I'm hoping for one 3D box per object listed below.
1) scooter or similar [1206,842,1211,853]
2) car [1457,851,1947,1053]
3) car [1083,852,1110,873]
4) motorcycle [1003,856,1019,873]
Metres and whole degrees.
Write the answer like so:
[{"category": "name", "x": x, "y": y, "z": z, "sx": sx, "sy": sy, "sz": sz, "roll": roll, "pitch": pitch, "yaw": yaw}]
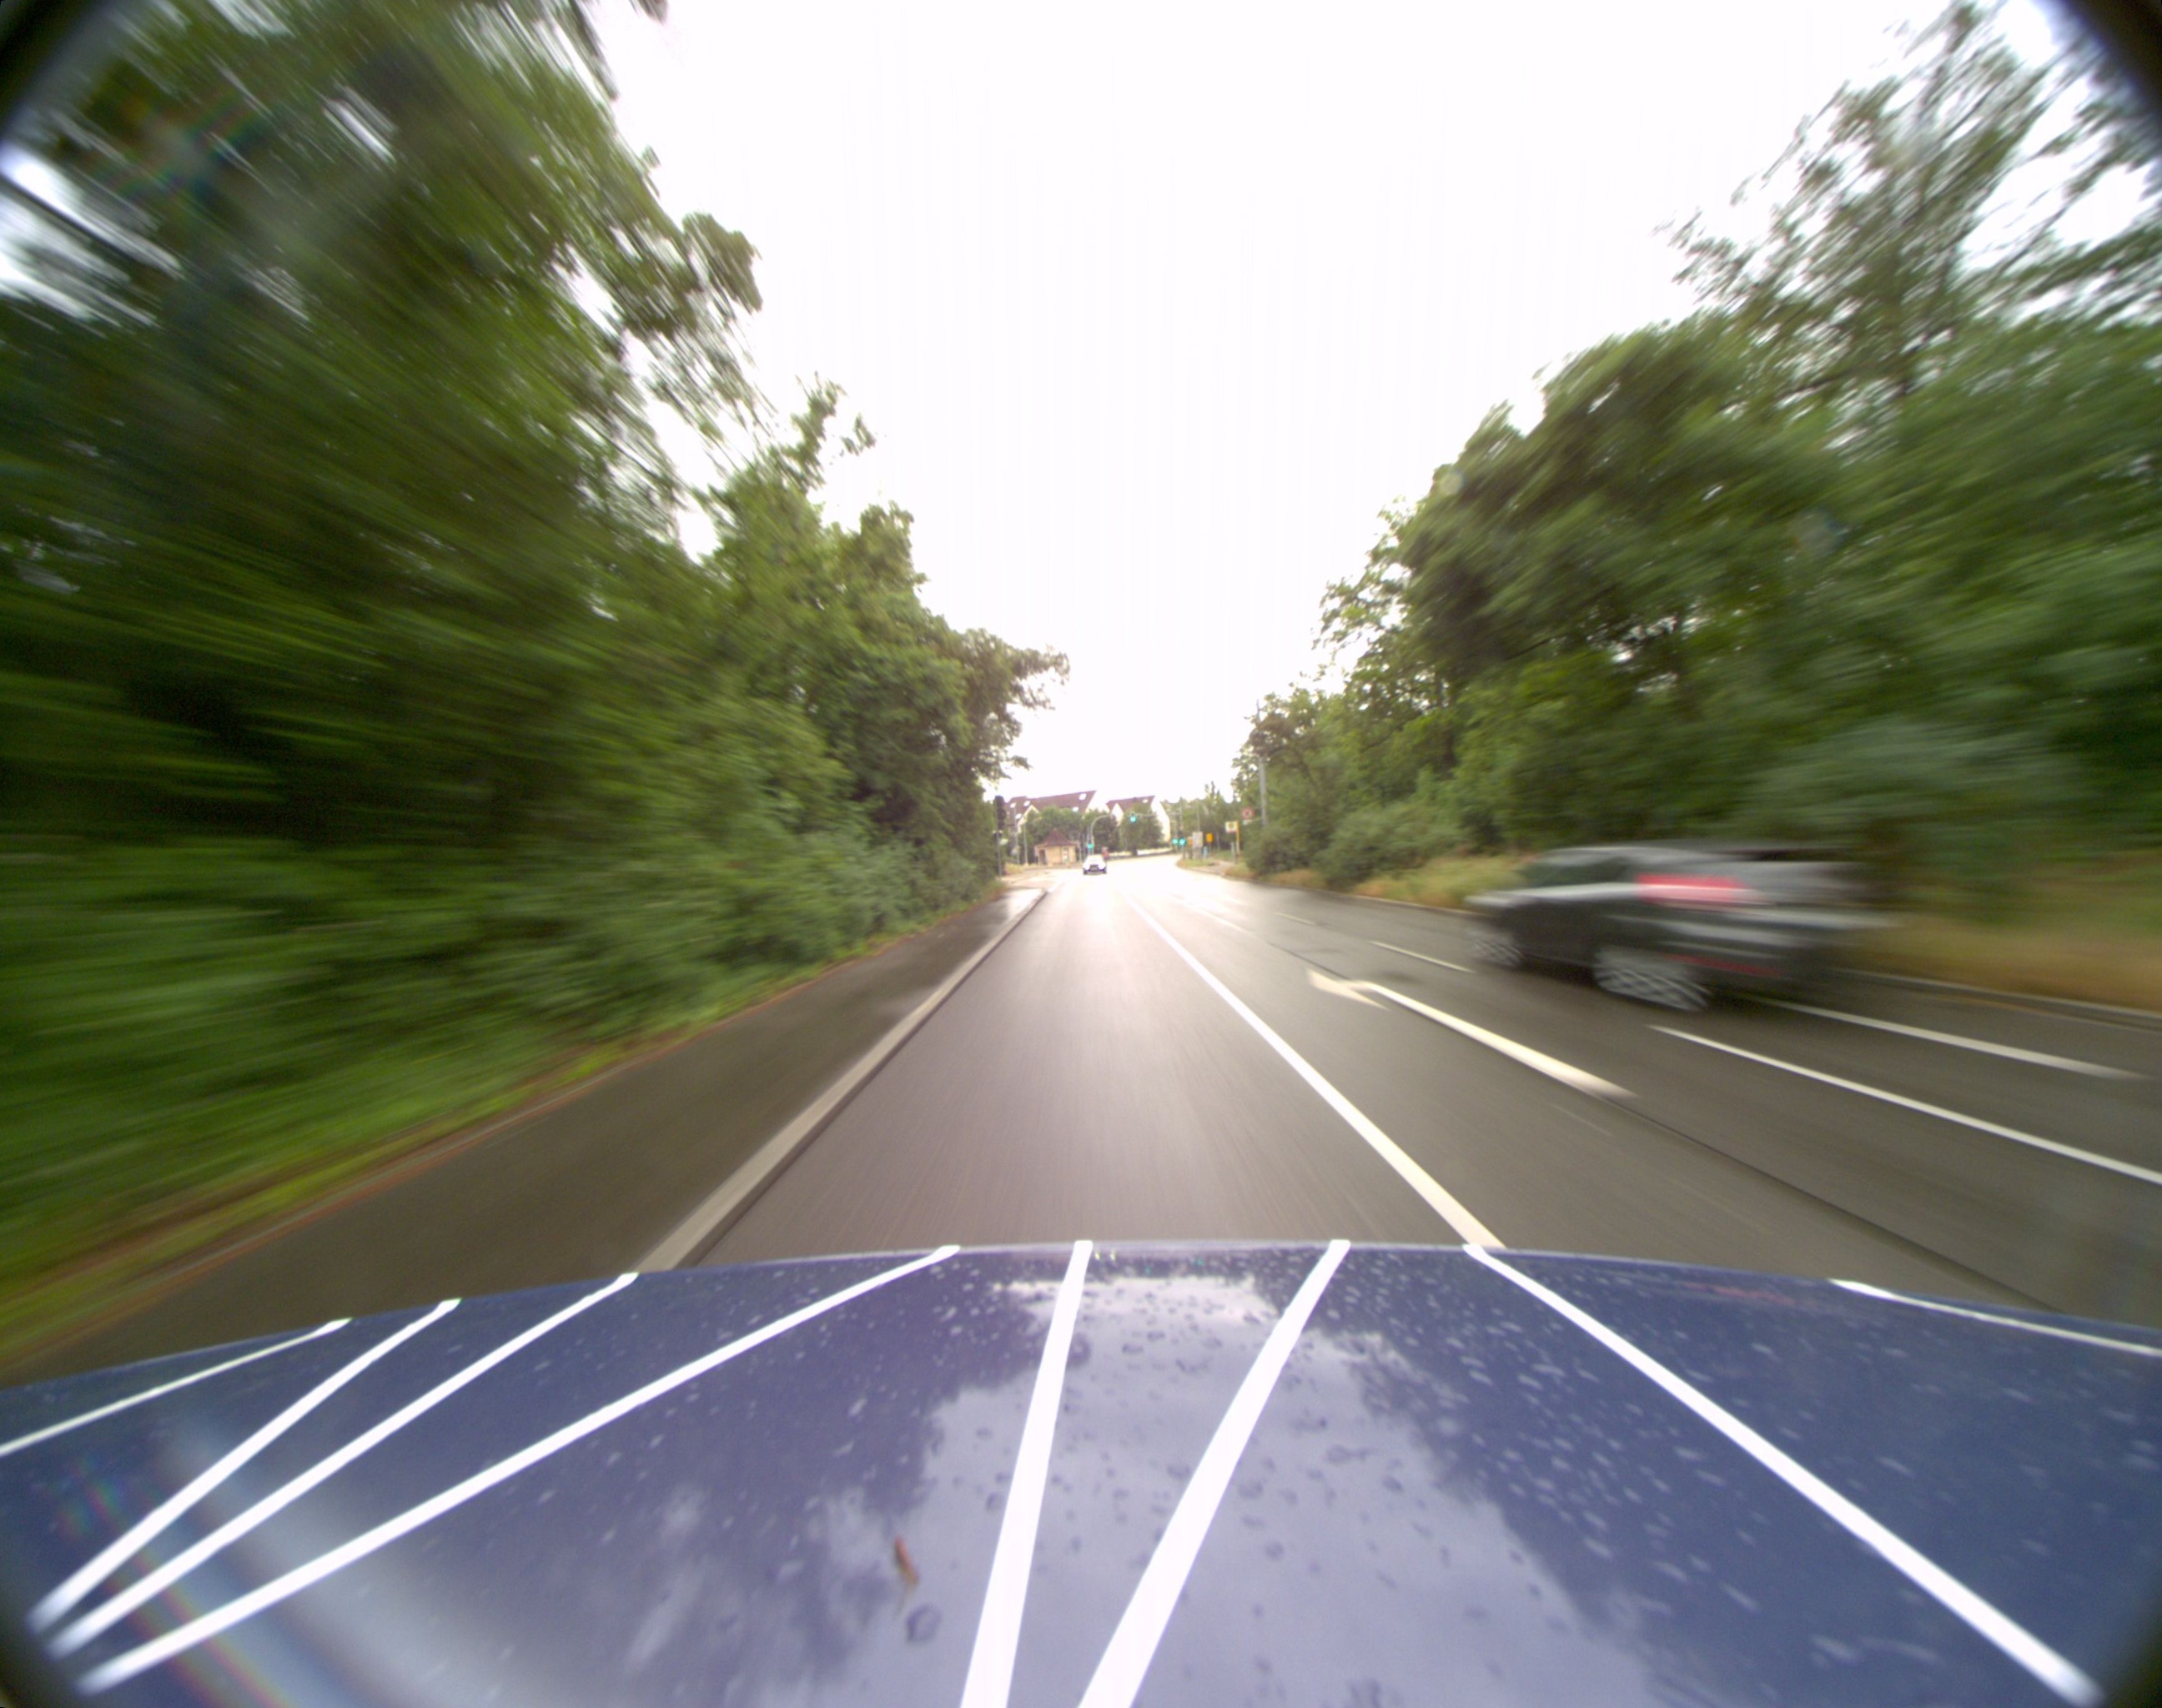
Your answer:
[{"category": "scooter or similar", "x": 15.463, "y": -0.807, "z": 92.131, "sx": 0.518, "sy": 1.205, "sz": 1.470, "roll": -4, "pitch": 1, "yaw": 12}, {"category": "car", "x": 5.559, "y": 0.714, "z": 7.586, "sx": 1.603, "sy": 1.433, "sz": 3.990, "roll": -2, "pitch": 0, "yaw": 0}, {"category": "car", "x": 1.240, "y": 0.630, "z": 59.791, "sx": 1.945, "sy": 1.446, "sz": 4.603, "roll": -3, "pitch": 1, "yaw": 1}, {"category": "motorcycle", "x": -5.513, "y": 0.831, "z": 59.940, "sx": 0.589, "sy": 1.281, "sz": 1.539, "roll": -3, "pitch": 1, "yaw": 19}]
